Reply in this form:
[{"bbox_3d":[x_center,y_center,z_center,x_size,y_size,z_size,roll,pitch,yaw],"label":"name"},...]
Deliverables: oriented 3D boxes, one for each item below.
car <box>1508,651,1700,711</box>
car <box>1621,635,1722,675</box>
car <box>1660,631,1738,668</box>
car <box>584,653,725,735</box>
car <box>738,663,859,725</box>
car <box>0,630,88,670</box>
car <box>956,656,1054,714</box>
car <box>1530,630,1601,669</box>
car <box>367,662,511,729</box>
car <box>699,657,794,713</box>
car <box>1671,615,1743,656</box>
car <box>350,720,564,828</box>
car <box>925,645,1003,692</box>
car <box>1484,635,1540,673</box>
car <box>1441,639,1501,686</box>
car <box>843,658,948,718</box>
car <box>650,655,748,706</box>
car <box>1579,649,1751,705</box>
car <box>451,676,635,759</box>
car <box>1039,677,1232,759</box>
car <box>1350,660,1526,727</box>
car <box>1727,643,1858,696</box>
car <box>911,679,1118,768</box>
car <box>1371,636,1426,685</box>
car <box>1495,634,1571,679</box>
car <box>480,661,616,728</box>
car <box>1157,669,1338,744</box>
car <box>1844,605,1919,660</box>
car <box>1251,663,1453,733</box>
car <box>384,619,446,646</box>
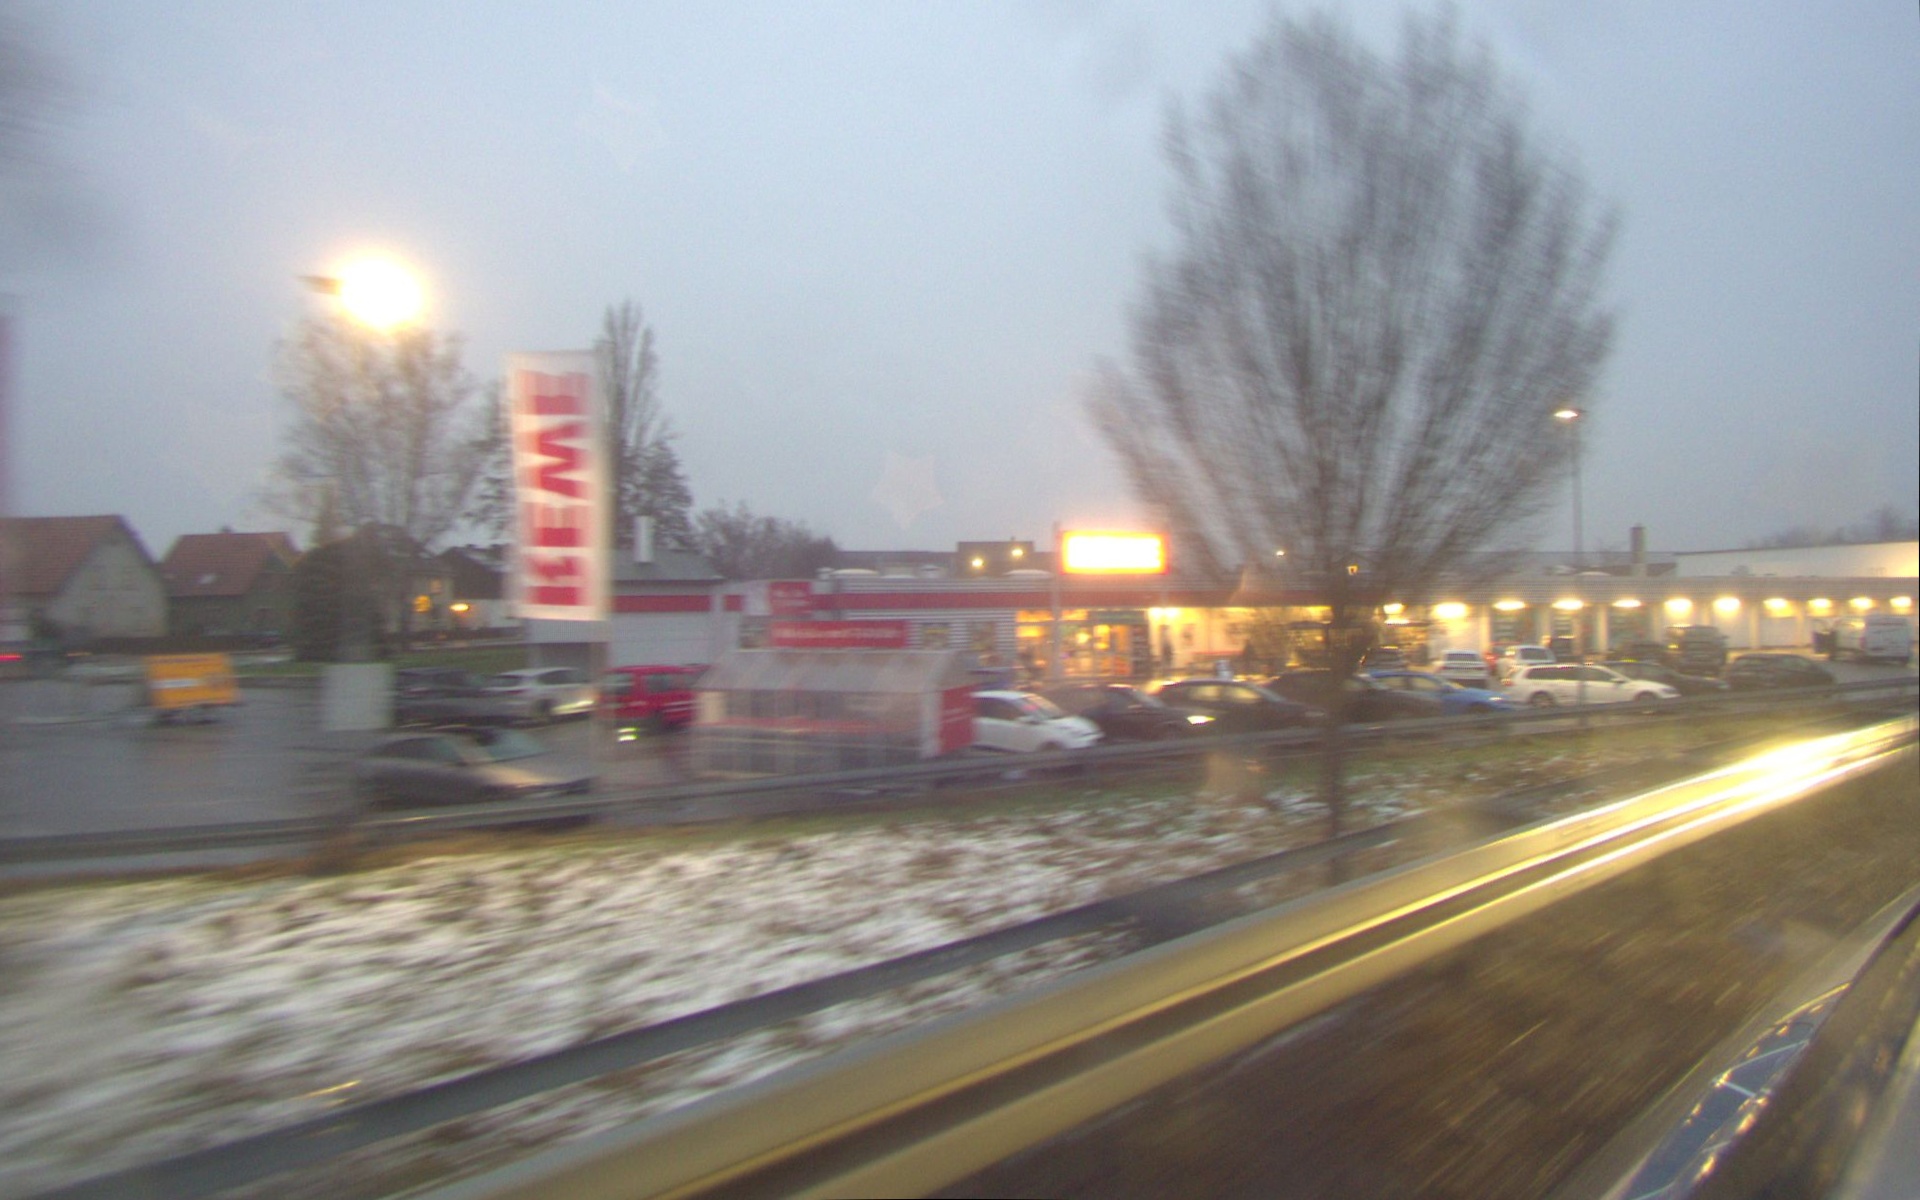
[{"bbox_3d":[18.896,2.335,29.978,4.662,1.414,1.885,0,1,29],"label":"car"},{"bbox_3d":[29.660,2.284,42.286,3.227,1.555,1.378,-2,-2,28],"label":"car"},{"bbox_3d":[32.795,2.177,44.999,1.696,1.536,3.241,-1,-1,16],"label":"car"},{"bbox_3d":[-8.462,2.545,28.422,1.703,1.892,4.006,0,0,22],"label":"car"},{"bbox_3d":[-4.723,2.725,30.069,1.556,1.448,3.721,0,0,30],"label":"car"},{"bbox_3d":[-45.566,2.415,49.705,1.909,1.682,3.994,0,0,5],"label":"car"},{"bbox_3d":[1.520,2.649,32.422,1.727,1.443,4.280,0,0,24],"label":"car"},{"bbox_3d":[28.378,2.280,47.572,1.775,1.615,3.963,0,0,14],"label":"car"},{"bbox_3d":[-15.693,2.825,30.691,1.550,1.633,3.811,0,0,22],"label":"car"},{"bbox_3d":[-7.042,2.768,33.729,1.547,1.504,3.742,0,0,16],"label":"car"},{"bbox_3d":[37.662,1.753,51.167,1.867,1.983,4.918,-1,-1,24],"label":"car"},{"bbox_3d":[-8.209,2.777,16.533,3.170,1.330,1.381,0,0,21],"label":"car"},{"bbox_3d":[0.186,2.382,36.039,1.550,1.369,3.812,0,0,21],"label":"car"},{"bbox_3d":[25.161,2.425,46.247,1.706,1.520,3.998,0,0,21],"label":"car"},{"bbox_3d":[19.828,2.384,39.430,1.786,1.554,4.507,-1,0,23],"label":"car"},{"bbox_3d":[-1.884,2.608,30.637,1.553,1.448,3.727,0,0,26],"label":"car"},{"bbox_3d":[-8.838,2.699,34.605,1.547,1.411,3.820,0,0,16],"label":"car"},{"bbox_3d":[21.574,2.317,31.190,4.143,1.414,1.833,0,1,29],"label":"car"},{"bbox_3d":[-9.944,2.761,24.326,3.951,1.622,1.726,0,0,-23],"label":"car"},{"bbox_3d":[3.865,2.550,22.308,3.954,1.438,1.619,0,0,23],"label":"car"},{"bbox_3d":[12.783,2.457,27.218,4.138,1.414,1.887,0,1,27],"label":"car"},{"bbox_3d":[27.457,2.258,33.373,3.732,1.447,1.777,-1,1,-22],"label":"car"},{"bbox_3d":[1.134,2.495,21.050,3.954,1.457,1.783,0,0,23],"label":"car"},{"bbox_3d":[16.692,2.250,38.475,1.585,1.605,3.595,-1,0,29],"label":"car"},{"bbox_3d":[23.225,2.231,41.179,1.802,1.660,4.442,0,-1,18],"label":"car"},{"bbox_3d":[-12.543,2.831,31.020,1.606,1.628,3.804,0,0,26],"label":"car"},{"bbox_3d":[6.767,2.452,23.847,3.954,1.438,1.619,0,0,23],"label":"car"},{"bbox_3d":[46.022,1.558,50.240,2.262,2.470,5.185,0,1,30],"label":"car"},{"bbox_3d":[9.715,2.394,25.407,4.528,1.473,1.920,-1,0,19],"label":"car"},{"bbox_3d":[-43.546,2.587,81.040,1.965,1.969,4.848,0,1,6],"label":"car"}]
